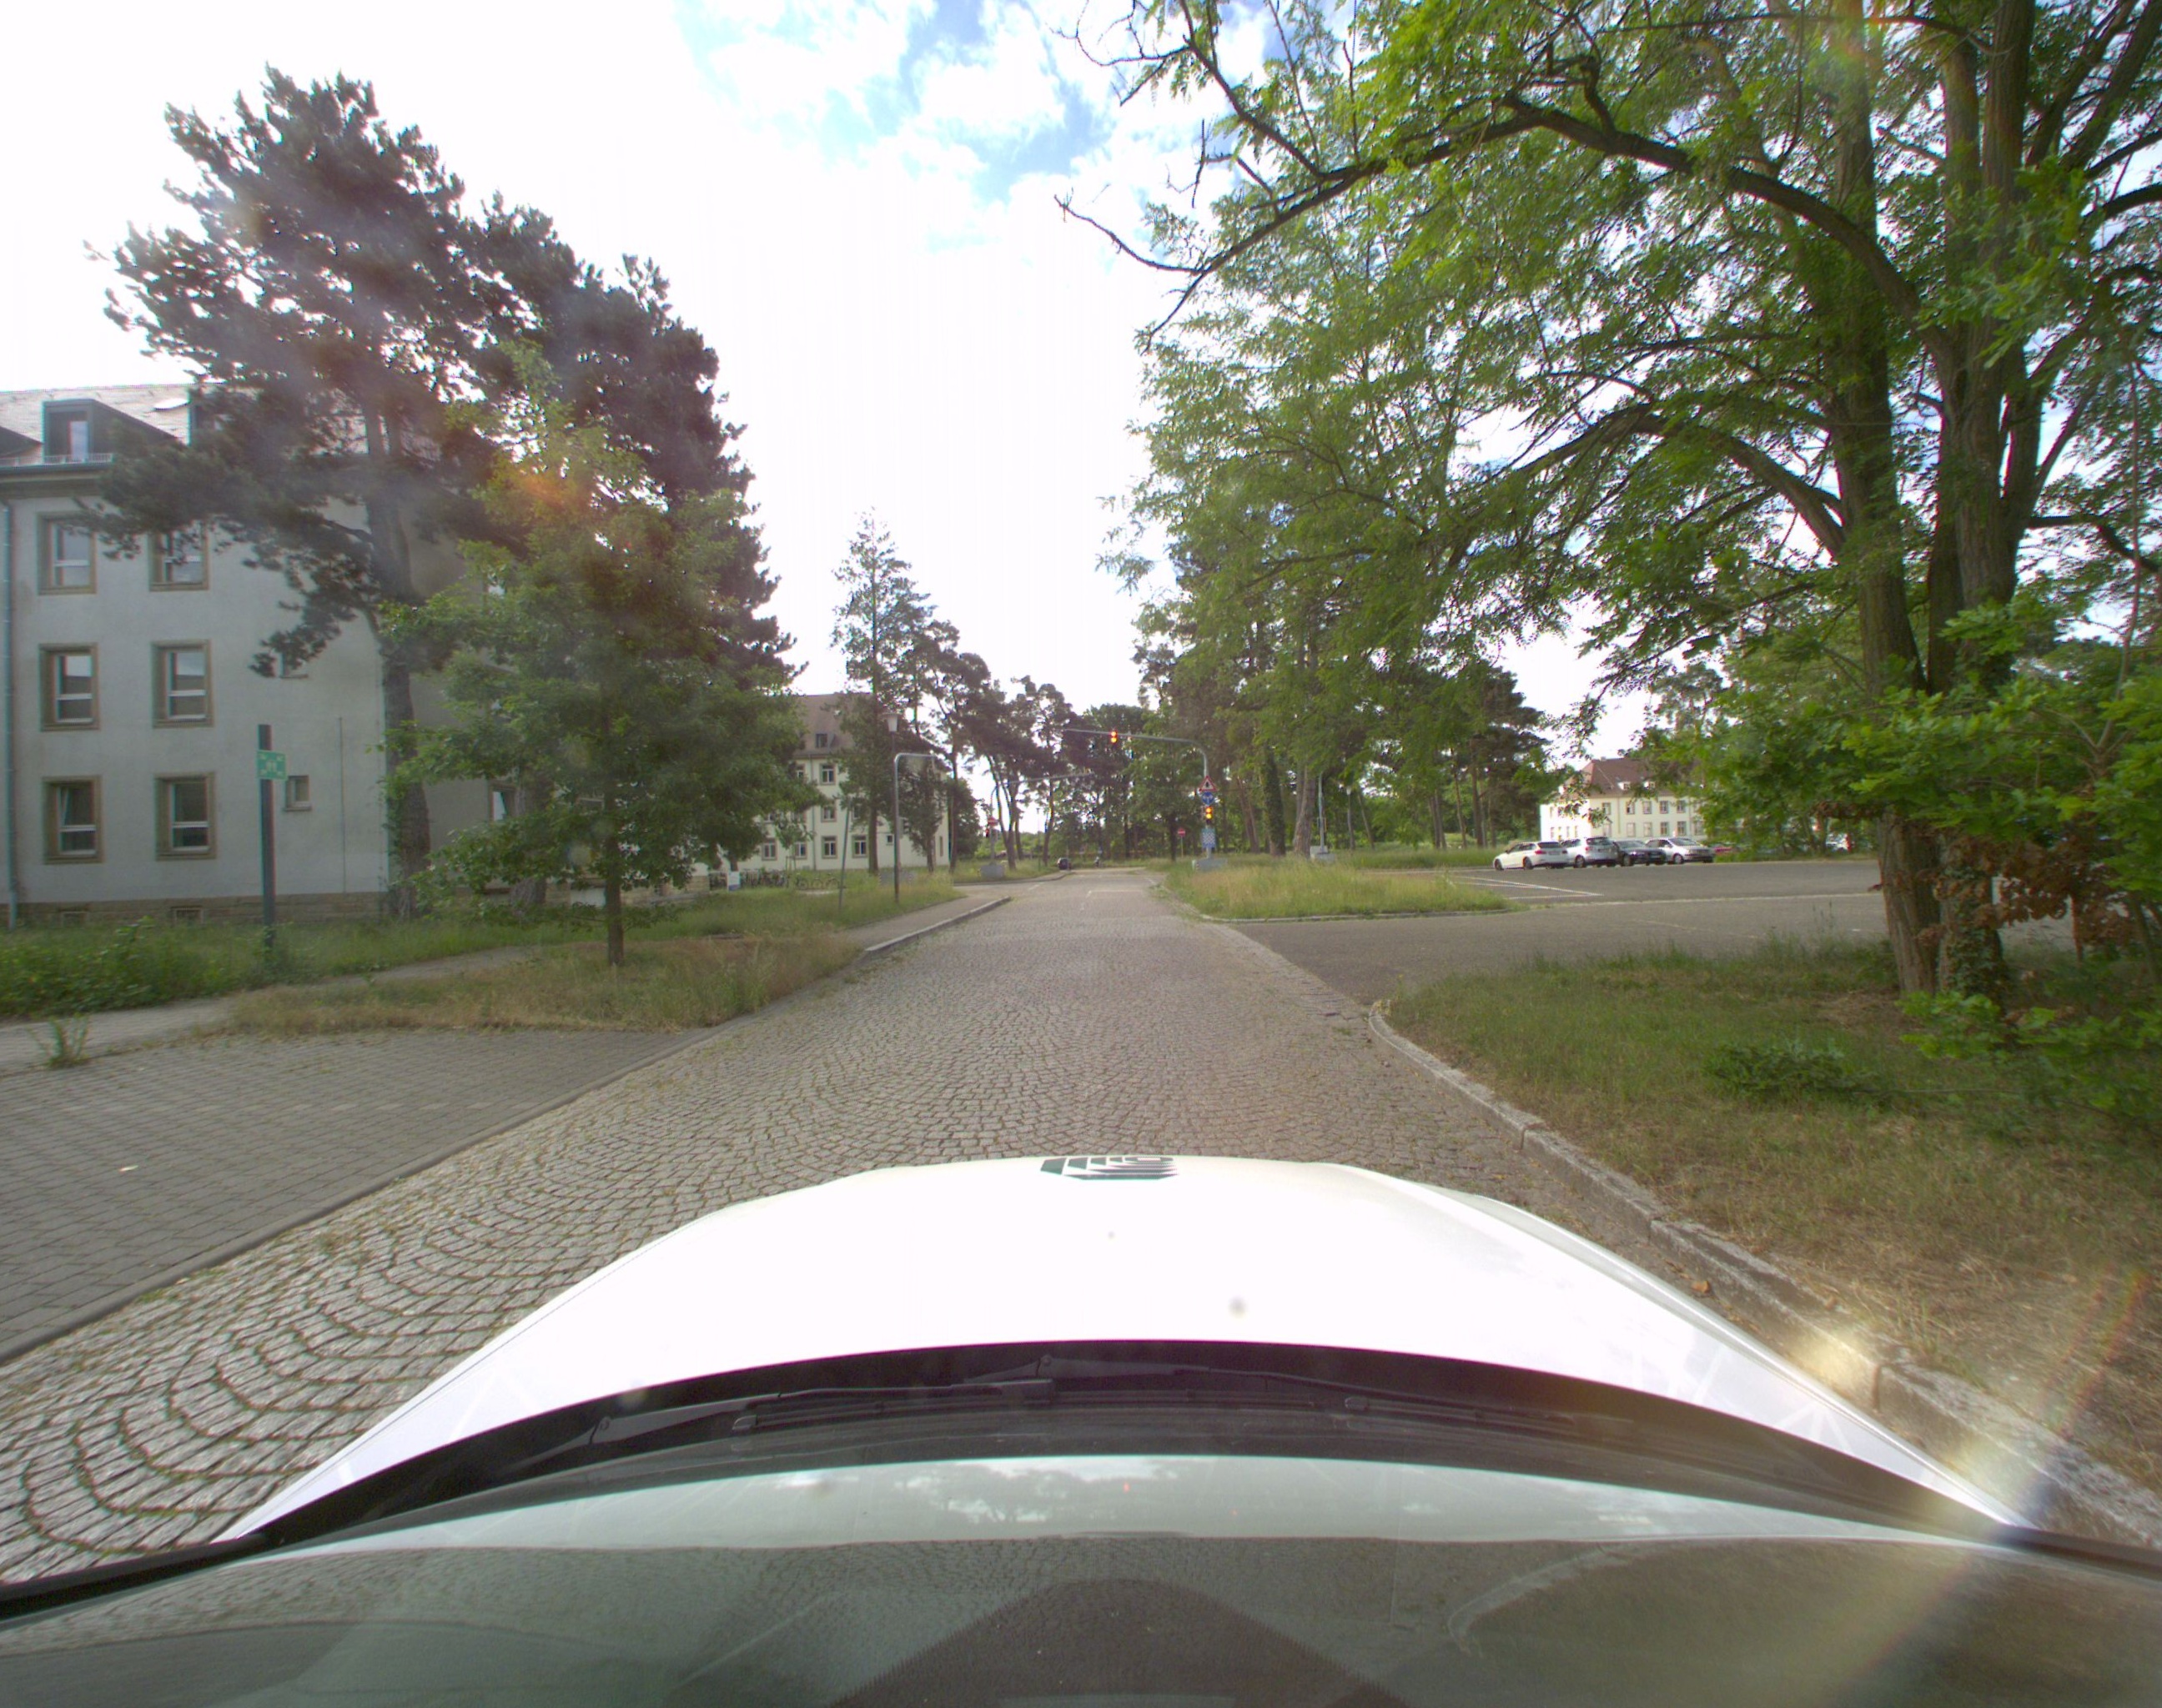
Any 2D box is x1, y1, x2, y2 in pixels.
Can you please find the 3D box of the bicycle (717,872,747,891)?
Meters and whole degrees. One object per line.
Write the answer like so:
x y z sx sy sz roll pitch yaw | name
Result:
-21.160 1.652 49.407 0.733 1.076 2.274 -2 0 2 | bicycle

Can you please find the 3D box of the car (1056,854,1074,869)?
-2.045 0.962 105.239 2.048 1.846 4.001 -2 0 1 | car

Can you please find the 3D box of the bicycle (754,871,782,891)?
-18.973 1.624 49.386 0.733 1.076 2.274 -2 0 2 | bicycle

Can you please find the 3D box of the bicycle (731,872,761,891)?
-20.499 1.659 49.886 0.733 1.076 2.274 -2 0 2 | bicycle

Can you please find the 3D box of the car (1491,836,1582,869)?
22.870 -0.034 41.096 1.988 1.481 4.422 -2 -2 -2 | car

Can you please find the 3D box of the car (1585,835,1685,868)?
28.054 -0.074 41.451 1.988 1.481 4.422 -2 -2 -2 | car

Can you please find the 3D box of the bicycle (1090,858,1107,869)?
2.078 1.197 98.636 1.971 1.320 0.516 0 -1 -13 | bicycle

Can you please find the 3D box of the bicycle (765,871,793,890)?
-18.331 1.597 49.451 0.733 1.076 2.274 -2 0 2 | bicycle

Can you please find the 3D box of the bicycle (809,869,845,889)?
-15.008 1.458 48.163 1.848 1.076 0.832 -2 0 3 | bicycle

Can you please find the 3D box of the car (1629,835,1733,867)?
30.731 -0.113 41.867 1.988 1.523 4.422 -1 -2 -2 | car

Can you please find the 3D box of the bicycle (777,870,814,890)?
-16.891 1.536 48.167 1.848 1.076 0.739 -2 0 3 | bicycle

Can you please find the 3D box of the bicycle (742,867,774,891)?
-19.707 1.501 49.759 0.733 1.385 2.713 -2 0 2 | bicycle

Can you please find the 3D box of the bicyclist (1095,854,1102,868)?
2.077 0.890 98.635 0.749 1.671 0.524 0 -1 -12 | bicyclist

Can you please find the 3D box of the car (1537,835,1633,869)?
25.385 -0.054 41.219 1.988 1.481 4.422 -2 -2 -2 | car

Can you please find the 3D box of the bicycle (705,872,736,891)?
-21.888 1.673 49.496 0.733 1.076 2.274 -2 0 2 | bicycle
